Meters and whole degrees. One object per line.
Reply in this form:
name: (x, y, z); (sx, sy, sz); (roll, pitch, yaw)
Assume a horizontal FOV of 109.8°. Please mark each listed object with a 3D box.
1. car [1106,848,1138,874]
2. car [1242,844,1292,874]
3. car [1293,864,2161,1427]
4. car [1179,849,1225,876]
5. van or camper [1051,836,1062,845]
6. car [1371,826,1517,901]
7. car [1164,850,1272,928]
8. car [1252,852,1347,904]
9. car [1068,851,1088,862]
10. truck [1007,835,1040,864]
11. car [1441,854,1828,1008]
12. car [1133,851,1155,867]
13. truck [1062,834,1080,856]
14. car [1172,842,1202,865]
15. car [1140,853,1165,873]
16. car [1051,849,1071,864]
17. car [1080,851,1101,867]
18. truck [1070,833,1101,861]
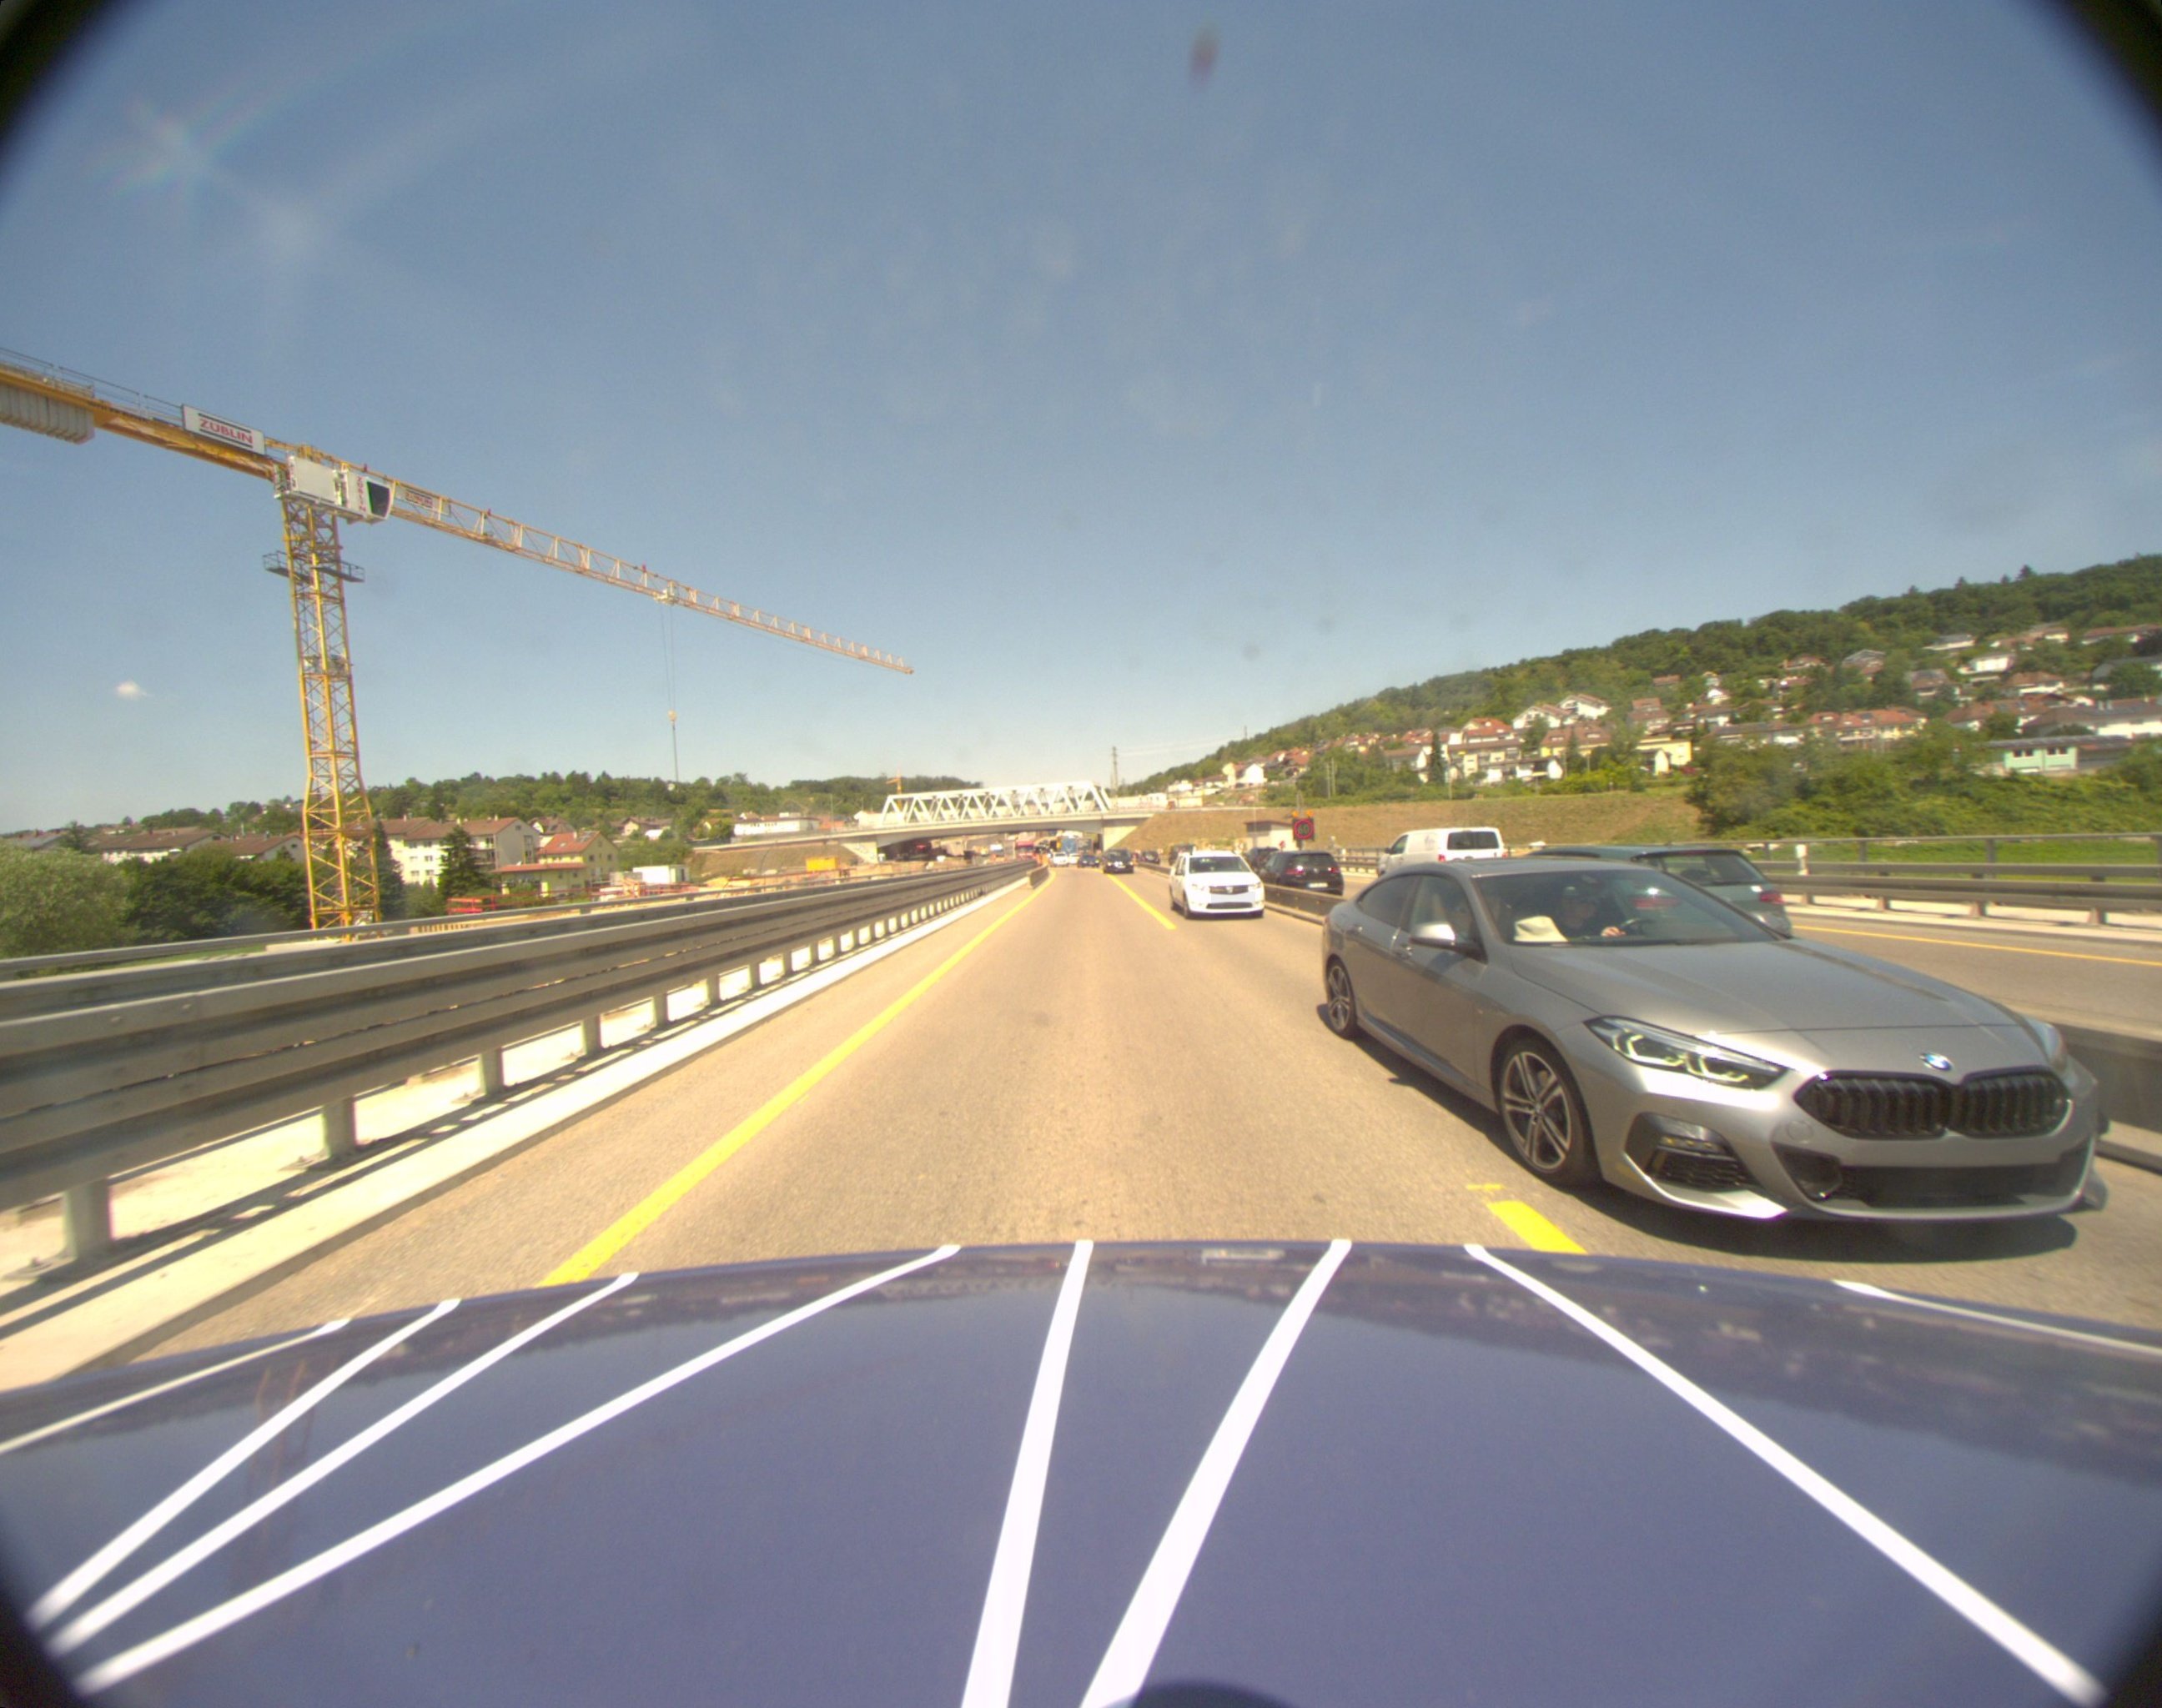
car: (2.757, 0.470, 51.869); (1.862, 1.682, 4.097); (-2, 0, -1)
car: (10.369, 0.273, 42.618); (1.818, 1.560, 4.000); (-1, 0, 1)
car: (2.846, 0.840, 4.473); (1.856, 1.443, 4.741); (-1, 0, 0)
car: (6.636, 0.457, 42.130); (1.830, 1.410, 4.657); (0, 0, 1)
van or camper: (-6.236, -3.442, 195.567); (2.332, 2.068, 5.423); (-2, 1, -6)
car: (10.111, 0.231, 21.620); (1.864, 1.856, 4.628); (-1, 0, -1)
car: (3.114, 0.718, 18.155); (1.823, 1.521, 4.706); (-2, 1, 2)
car: (6.389, 0.647, 22.700); (1.683, 1.384, 4.155); (0, 0, 0)
car: (-0.474, 0.397, 109.385); (2.017, 1.516, 4.189); (-1, 0, -13)
truck: (-8.179, -0.647, 106.623); (2.706, 3.705, 8.495); (-2, 1, -16)
car: (6.043, 0.702, 9.018); (1.635, 1.400, 4.103); (0, 0, 0)
car: (6.332, 0.514, 76.985); (1.745, 1.464, 4.085); (-4, 0, 0)
truck: (-2.080, -1.879, 160.226); (3.173, 4.531, 12.086); (0, 0, 2)
car: (9.837, -0.080, 70.879); (1.928, 1.922, 4.938); (-4, 0, 0)
car: (6.258, 0.781, 66.879); (1.745, 1.573, 4.085); (-2, 0, 0)
car: (-2.702, 0.344, 99.494); (1.793, 1.871, 3.996); (-4, 0, -12)
car: (0.988, 0.516, 80.273); (1.792, 1.578, 3.998); (-4, 0, -5)
truck: (0.576, -1.267, 125.535); (3.269, 4.112, 17.322); (-3, 1, -5)
